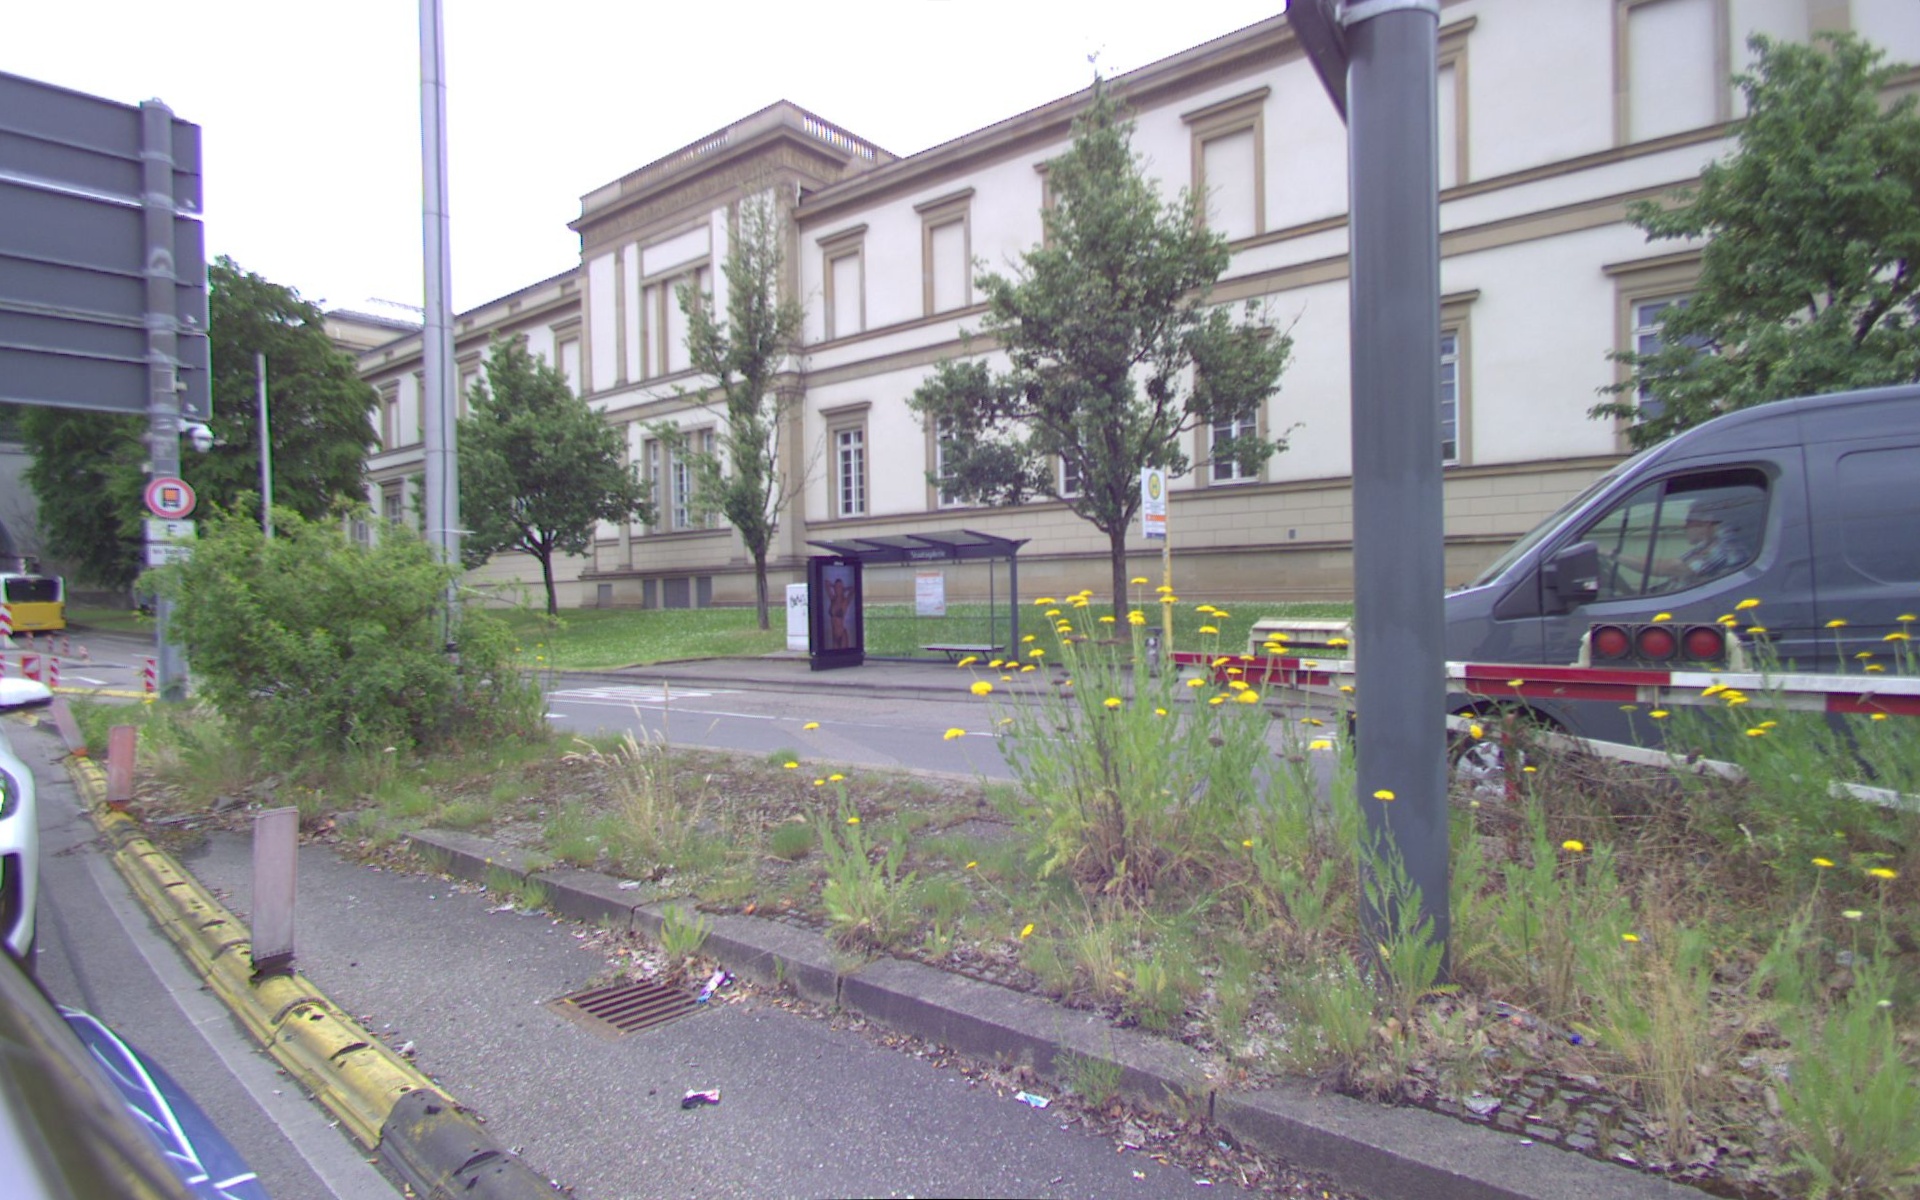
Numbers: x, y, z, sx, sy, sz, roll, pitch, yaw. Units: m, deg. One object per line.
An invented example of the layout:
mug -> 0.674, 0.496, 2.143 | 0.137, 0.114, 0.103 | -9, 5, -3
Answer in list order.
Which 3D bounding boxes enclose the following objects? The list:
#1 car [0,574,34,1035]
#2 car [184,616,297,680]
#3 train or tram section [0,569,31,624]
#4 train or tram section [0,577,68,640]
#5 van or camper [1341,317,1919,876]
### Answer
car -> -5.228, 0.721, 4.207 | 3.911, 1.568, 1.733 | -1, 0, 43
car -> -20.553, 1.296, 28.844 | 4.372, 1.638, 1.859 | -1, 0, 44
train or tram section -> -57.510, -0.123, 59.633 | 9.364, 3.094, 2.667 | -1, -2, 39
train or tram section -> -50.208, 0.515, 53.767 | 9.325, 3.094, 2.667 | -1, -2, 39
van or camper -> 5.425, -0.032, 5.495 | 6.053, 2.630, 2.140 | -2, -1, 27
